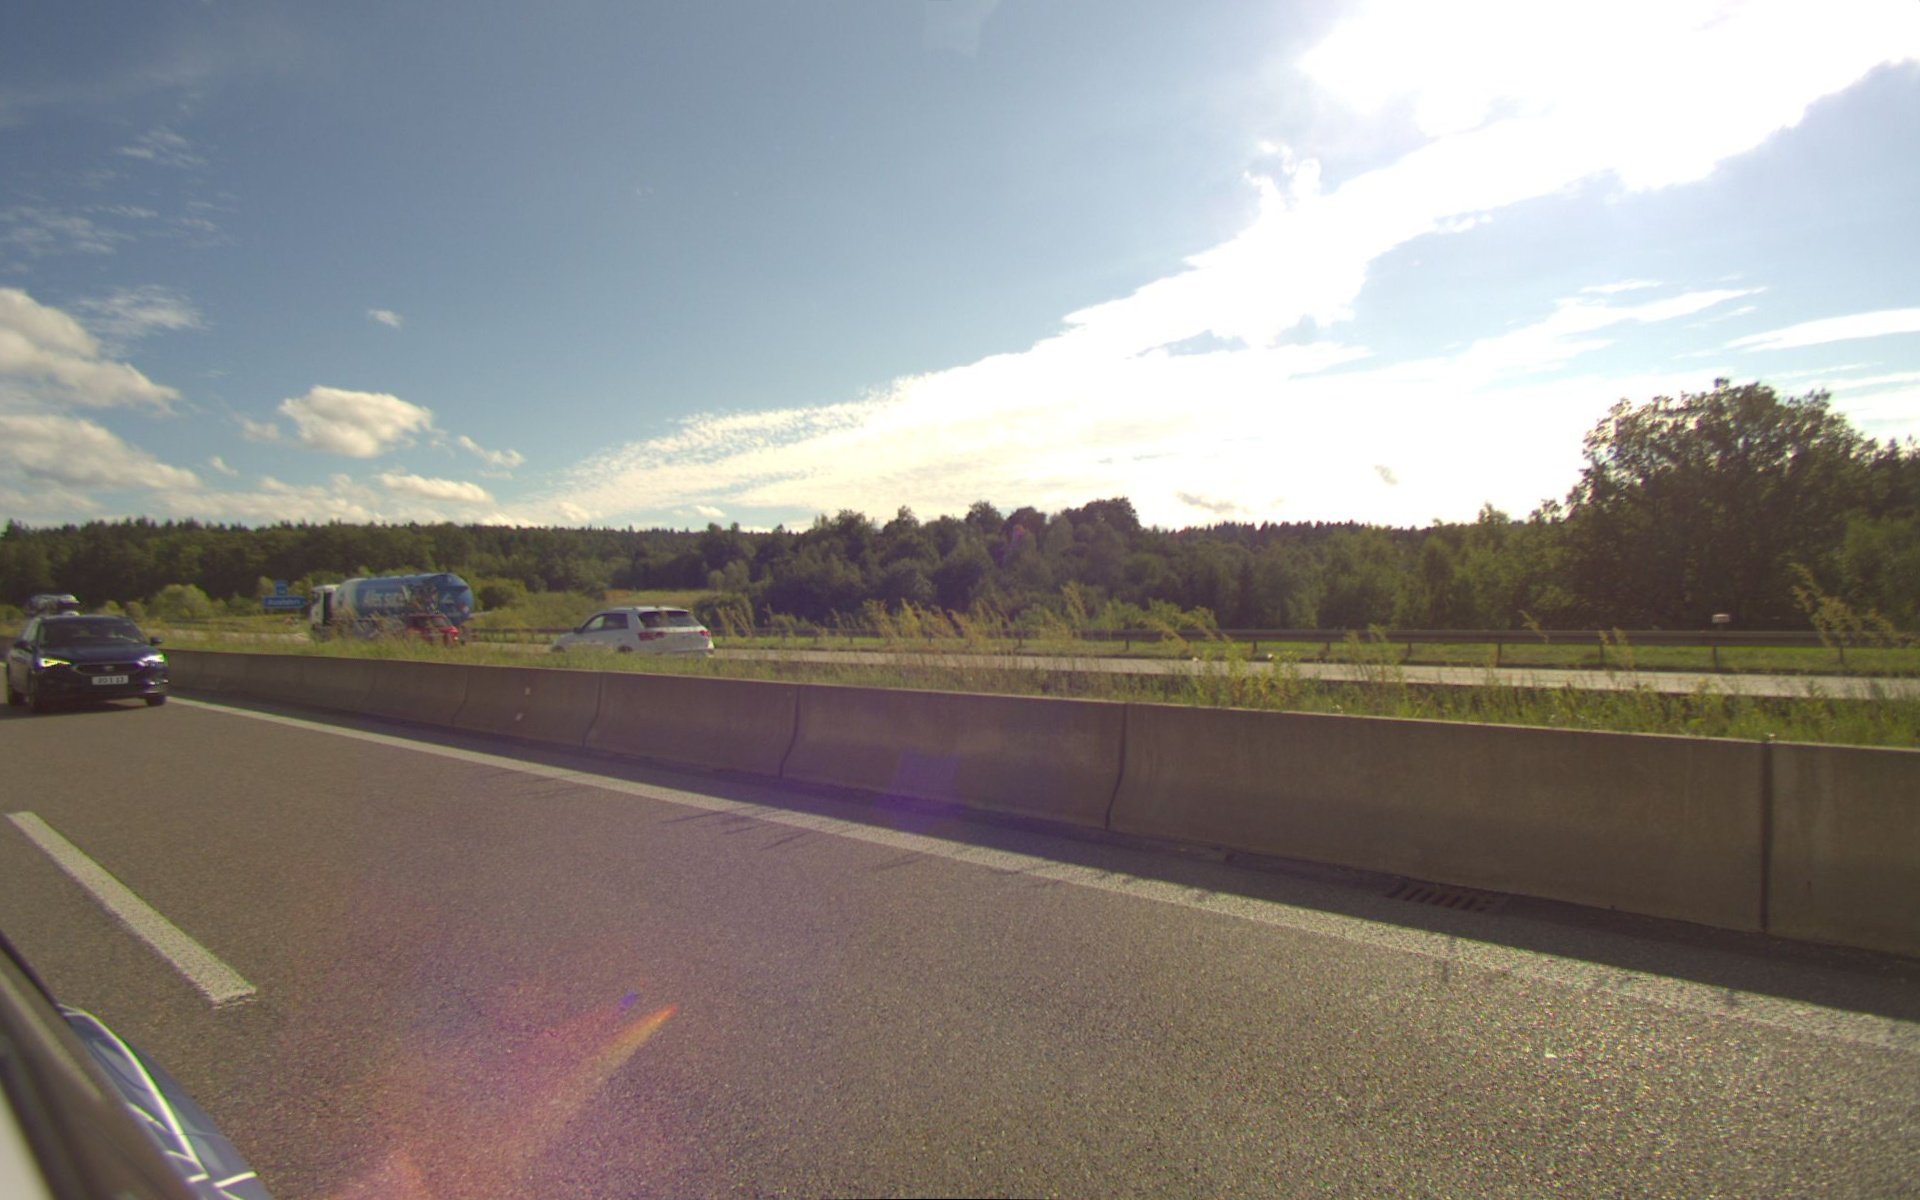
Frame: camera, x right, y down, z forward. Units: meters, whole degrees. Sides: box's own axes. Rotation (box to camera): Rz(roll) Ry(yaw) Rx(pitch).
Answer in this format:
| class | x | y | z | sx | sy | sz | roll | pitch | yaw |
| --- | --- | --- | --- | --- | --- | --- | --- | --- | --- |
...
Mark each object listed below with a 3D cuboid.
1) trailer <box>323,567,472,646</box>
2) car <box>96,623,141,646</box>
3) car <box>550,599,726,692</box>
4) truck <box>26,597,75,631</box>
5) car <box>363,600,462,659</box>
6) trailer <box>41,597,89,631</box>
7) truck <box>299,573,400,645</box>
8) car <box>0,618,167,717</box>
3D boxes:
| class | x | y | z | sx | sy | sz | roll | pitch | yaw |
| --- | --- | --- | --- | --- | --- | --- | --- | --- | --- |
| trailer | -26.178 | 0.379 | 46.752 | 10.867 | 3.309 | 2.298 | -2 | -1 | 40 |
| car | -55.387 | 2.247 | 66.614 | 3.706 | 1.291 | 1.673 | -1 | 2 | 41 |
| car | -6.616 | 0.875 | 20.618 | 3.765 | 1.636 | 1.654 | -1 | 2 | 41 |
| truck | -103.515 | 1.610 | 115.082 | 11.126 | 3.717 | 2.802 | -1 | -1 | 41 |
| car | -19.427 | 1.024 | 35.856 | 3.998 | 1.895 | 1.742 | -1 | 2 | 41 |
| trailer | -95.946 | 1.505 | 108.475 | 8.949 | 3.555 | 2.770 | -1 | -1 | 41 |
| truck | -30.388 | 0.449 | 50.296 | 6.100 | 3.298 | 2.295 | -1 | 2 | 40 |
| car | -15.763 | 1.104 | 18.119 | 4.157 | 1.554 | 1.756 | -1 | -1 | 42 |
